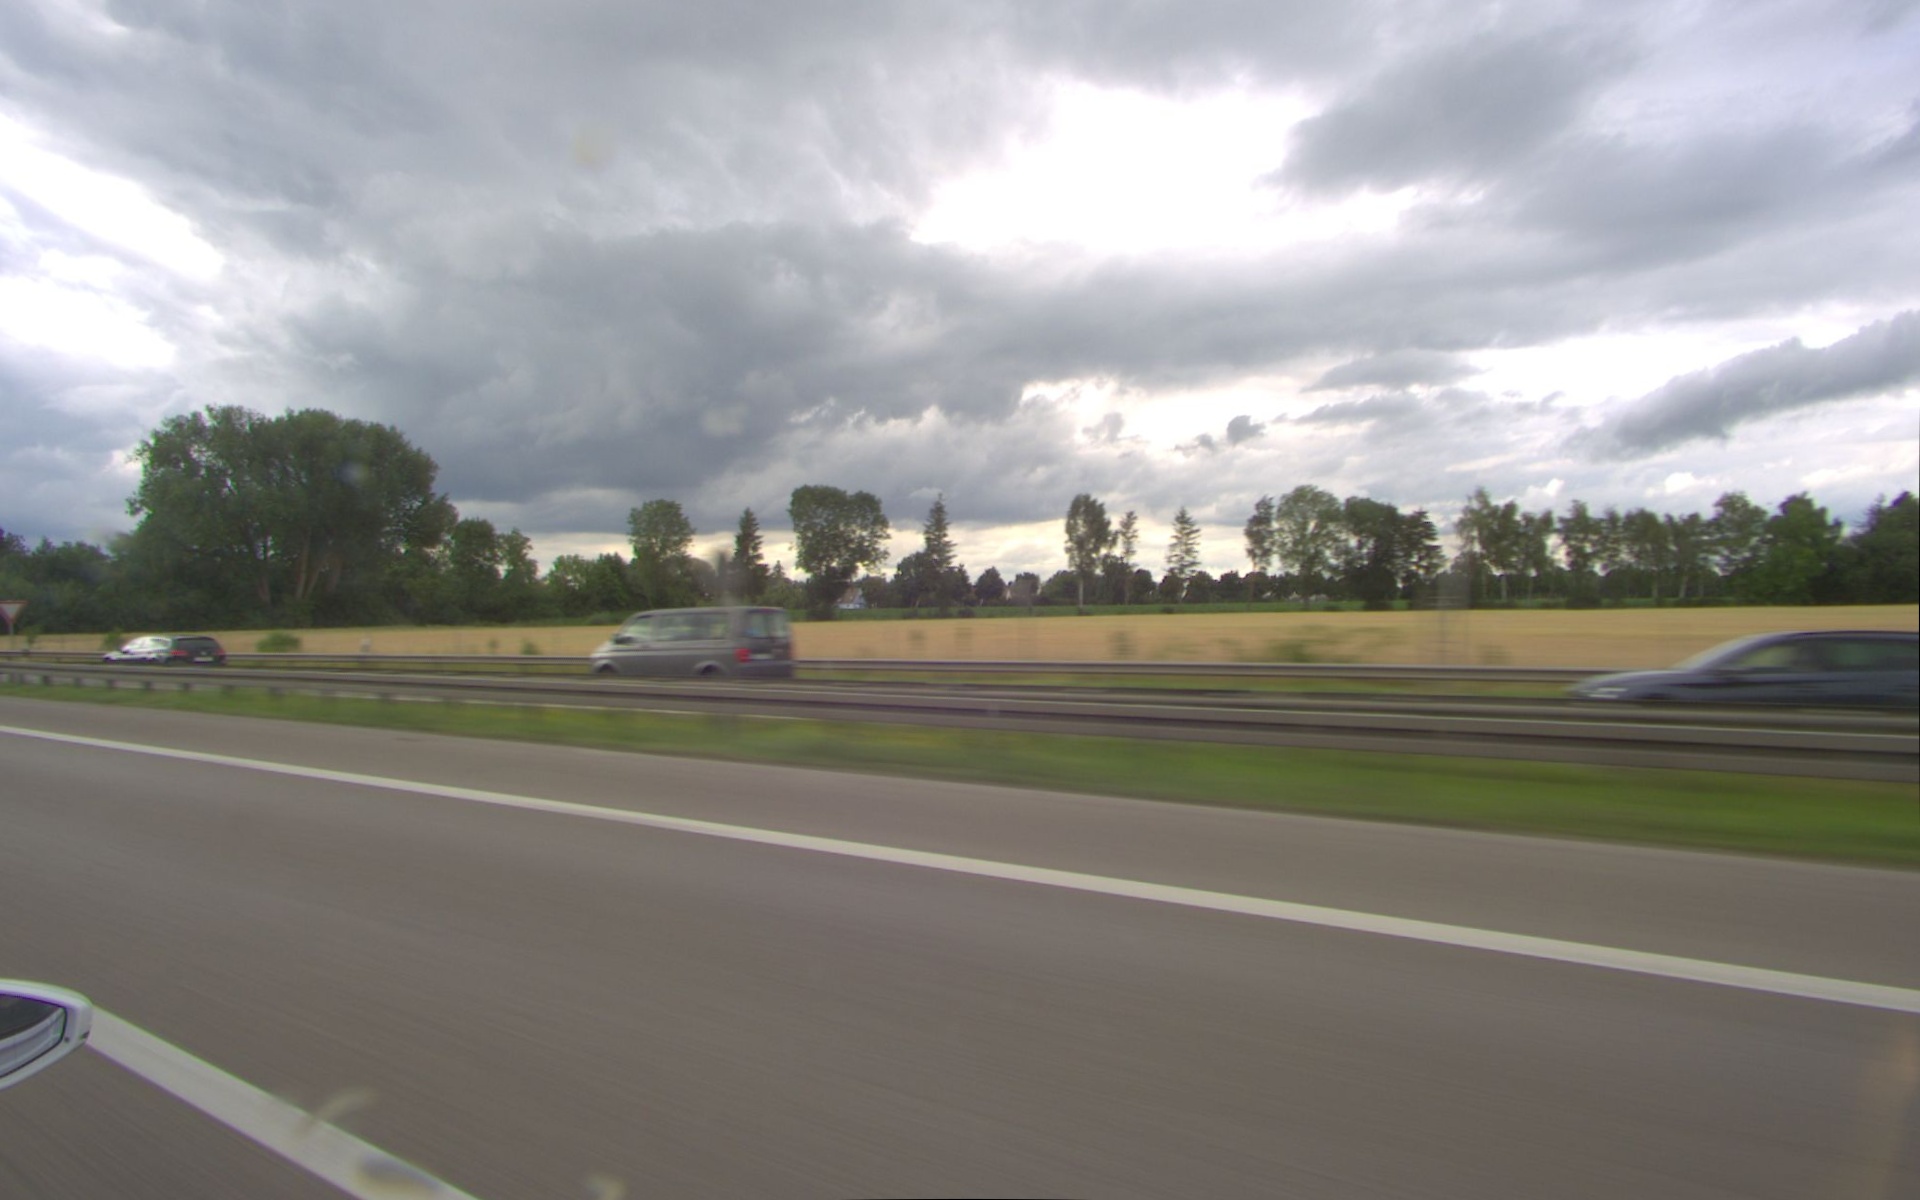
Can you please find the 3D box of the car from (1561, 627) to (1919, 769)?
[{"bbox_3d":[9.810,1.084,11.857,4.523,1.503,1.749,-1,-2,29],"label":"car"}]

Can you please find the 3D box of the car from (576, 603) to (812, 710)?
[{"bbox_3d":[-5.826,1.167,21.793,4.883,2.089,2.142,-1,-1,30],"label":"car"}]

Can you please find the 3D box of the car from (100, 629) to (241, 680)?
[{"bbox_3d":[-26.273,1.768,33.295,4.847,1.571,1.916,-1,0,28],"label":"car"}]
